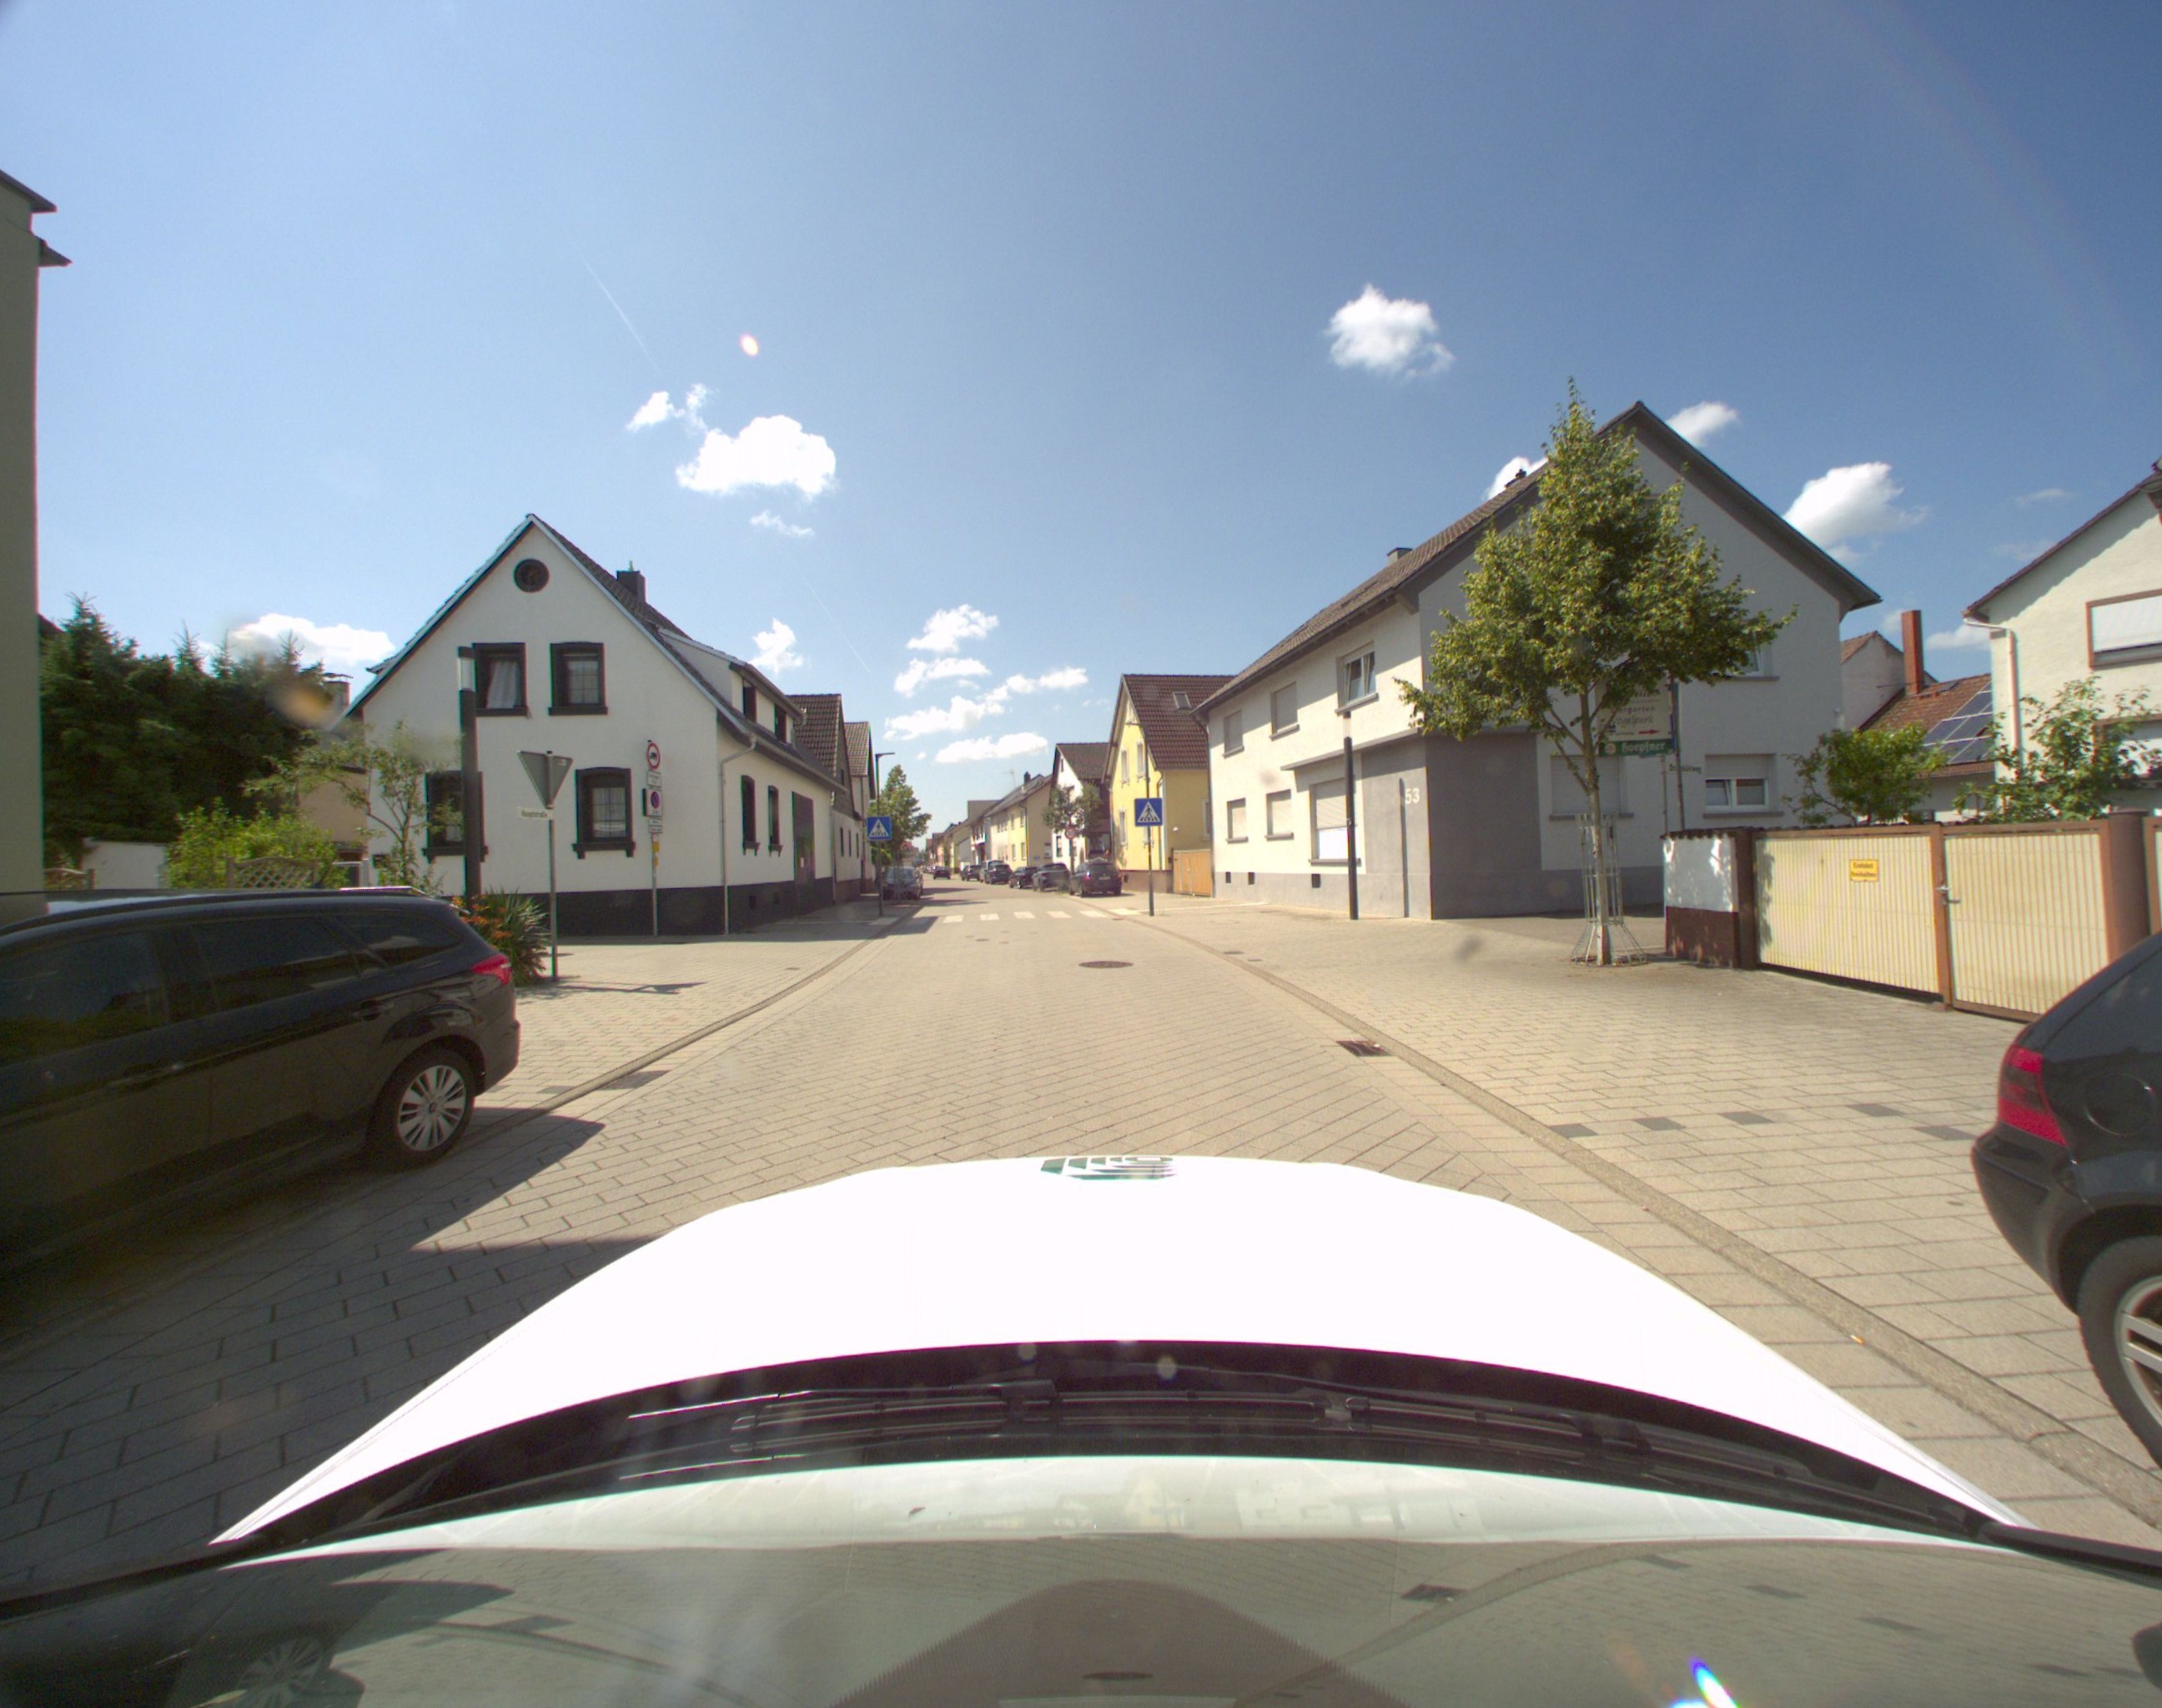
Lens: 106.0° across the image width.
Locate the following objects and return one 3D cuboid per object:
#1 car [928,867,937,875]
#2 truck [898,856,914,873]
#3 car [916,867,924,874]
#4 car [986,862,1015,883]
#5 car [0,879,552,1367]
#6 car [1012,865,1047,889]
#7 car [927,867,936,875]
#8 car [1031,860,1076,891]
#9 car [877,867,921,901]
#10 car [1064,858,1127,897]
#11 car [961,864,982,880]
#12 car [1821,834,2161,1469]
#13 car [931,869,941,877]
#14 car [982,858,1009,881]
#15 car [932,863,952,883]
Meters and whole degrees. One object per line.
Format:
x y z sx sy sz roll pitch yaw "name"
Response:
-28.809 3.278 157.725 1.689 1.452 3.778 -2 0 -11 "car"
-44.187 2.624 205.846 3.570 3.954 8.539 -2 0 -14 "truck"
-37.511 3.812 190.127 1.690 1.452 3.775 -2 0 -14 "car"
-6.528 1.493 65.796 1.878 1.591 3.984 -2 0 -11 "car"
-4.354 0.900 3.114 1.807 1.490 4.277 0 0 1 "car"
-3.326 1.452 52.333 1.711 1.387 3.691 -2 0 -11 "car"
-30.781 3.451 167.087 1.689 1.452 3.777 -2 0 -12 "car"
-1.554 1.173 45.013 1.847 1.562 3.679 -2 0 -11 "car"
-8.797 1.418 39.619 1.746 1.530 3.988 -1 -1 -8 "car"
0.573 1.014 35.647 1.830 1.471 4.259 -4 -1 -11 "car"
-10.757 1.728 80.009 1.755 1.493 3.984 -2 0 -11 "car"
3.323 0.654 0.628 1.753 1.438 4.120 -3 0 1 "car"
-25.789 3.359 144.459 1.689 1.452 3.778 -2 0 -11 "car"
-7.515 1.344 71.369 1.908 1.872 3.984 -2 0 -11 "car"
-15.611 2.120 91.509 1.995 2.058 4.356 -2 0 -12 "car"
